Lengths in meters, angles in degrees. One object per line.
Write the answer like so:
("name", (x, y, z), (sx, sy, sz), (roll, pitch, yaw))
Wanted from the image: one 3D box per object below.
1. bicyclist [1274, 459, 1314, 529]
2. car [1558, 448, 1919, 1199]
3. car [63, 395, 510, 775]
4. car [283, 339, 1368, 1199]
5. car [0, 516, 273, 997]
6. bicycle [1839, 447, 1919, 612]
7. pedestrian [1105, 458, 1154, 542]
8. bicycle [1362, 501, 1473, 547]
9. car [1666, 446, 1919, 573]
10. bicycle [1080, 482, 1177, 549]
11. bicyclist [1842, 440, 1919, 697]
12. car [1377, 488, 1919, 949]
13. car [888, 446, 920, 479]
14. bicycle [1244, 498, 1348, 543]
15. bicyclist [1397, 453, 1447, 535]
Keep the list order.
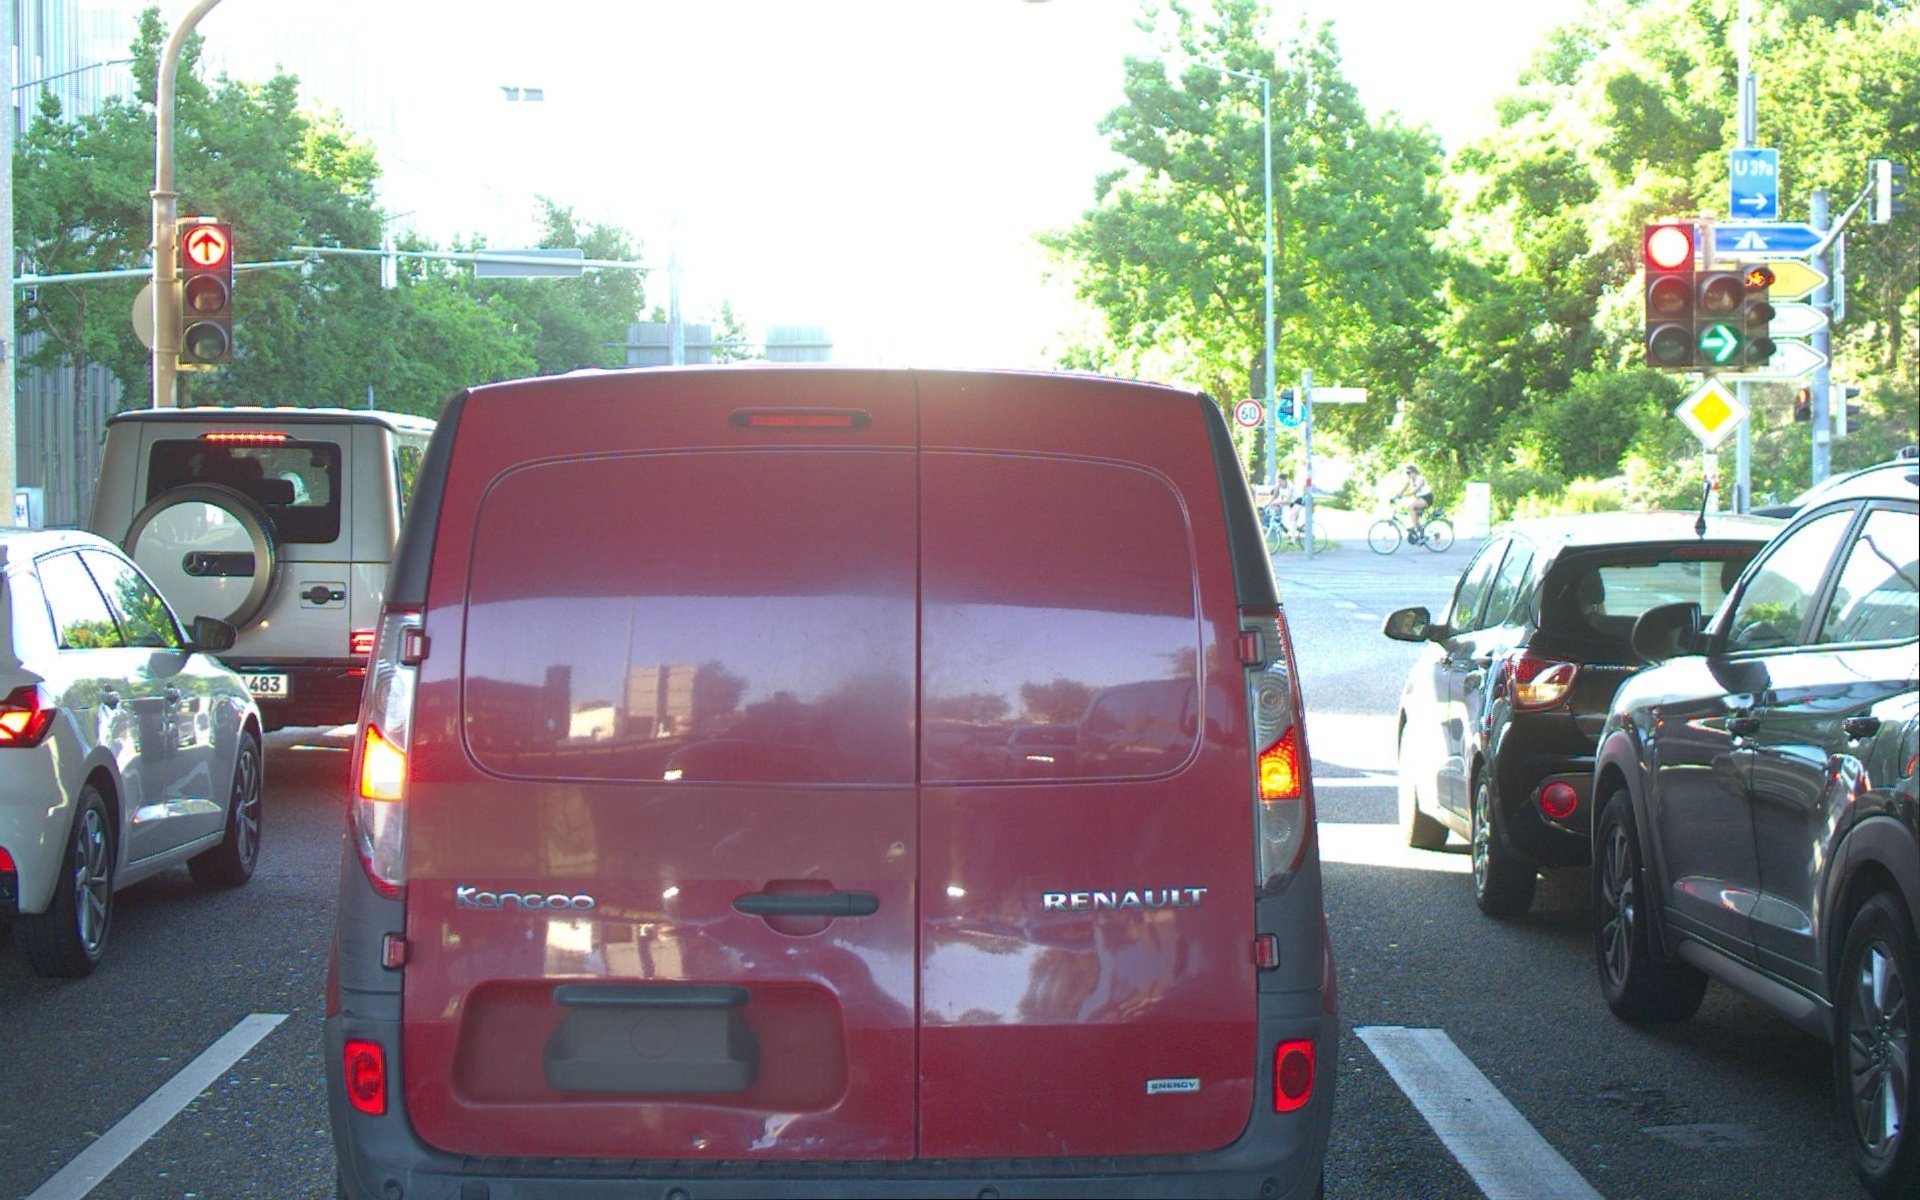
("bicyclist", (6.411, -2.034, 65.995), (0.652, 1.325, 0.603), (1, 1, -3))
("car", (2.803, 0.487, 8.541), (1.778, 1.650, 3.991), (1, 2, -2))
("car", (-3.646, -0.120, 19.242), (1.813, 1.897, 3.814), (1, 1, -1))
("car", (-0.234, 0.424, 7.499), (1.719, 1.758, 4.000), (1, 1, 0))
("car", (-3.581, 0.412, 12.014), (1.692, 1.405, 3.814), (1, 1, -2))
("bicycle", (6.068, -0.446, 22.105), (0.677, 1.020, 1.528), (1, 1, 10))
("pedestrian", (3.153, -1.863, 64.097), (0.836, 1.549, 0.557), (0, 1, -6))
("bicycle", (8.643, -1.437, 64.934), (1.952, 0.871, 0.699), (0, 1, -11))
("car", (11.879, -1.184, 46.050), (4.346, 1.602, 2.000), (1, 1, -3))
("bicycle", (3.142, -1.573, 64.099), (1.729, 1.229, 0.558), (0, 1, -6))
("bicyclist", (6.062, -0.200, 22.101), (0.677, 1.623, 0.644), (1, 1, 10))
("car", (2.718, 0.351, 13.872), (1.652, 1.546, 3.864), (1, 2, 1))
("car", (-3.571, -8.819, 221.145), (1.993, 2.007, 4.000), (1, 1, 0))
("bicycle", (6.455, -1.530, 66.019), (1.912, 0.864, 0.605), (0, 1, -4))
("bicyclist", (8.718, -1.994, 64.944), (0.754, 1.536, 0.697), (0, 1, -11))
